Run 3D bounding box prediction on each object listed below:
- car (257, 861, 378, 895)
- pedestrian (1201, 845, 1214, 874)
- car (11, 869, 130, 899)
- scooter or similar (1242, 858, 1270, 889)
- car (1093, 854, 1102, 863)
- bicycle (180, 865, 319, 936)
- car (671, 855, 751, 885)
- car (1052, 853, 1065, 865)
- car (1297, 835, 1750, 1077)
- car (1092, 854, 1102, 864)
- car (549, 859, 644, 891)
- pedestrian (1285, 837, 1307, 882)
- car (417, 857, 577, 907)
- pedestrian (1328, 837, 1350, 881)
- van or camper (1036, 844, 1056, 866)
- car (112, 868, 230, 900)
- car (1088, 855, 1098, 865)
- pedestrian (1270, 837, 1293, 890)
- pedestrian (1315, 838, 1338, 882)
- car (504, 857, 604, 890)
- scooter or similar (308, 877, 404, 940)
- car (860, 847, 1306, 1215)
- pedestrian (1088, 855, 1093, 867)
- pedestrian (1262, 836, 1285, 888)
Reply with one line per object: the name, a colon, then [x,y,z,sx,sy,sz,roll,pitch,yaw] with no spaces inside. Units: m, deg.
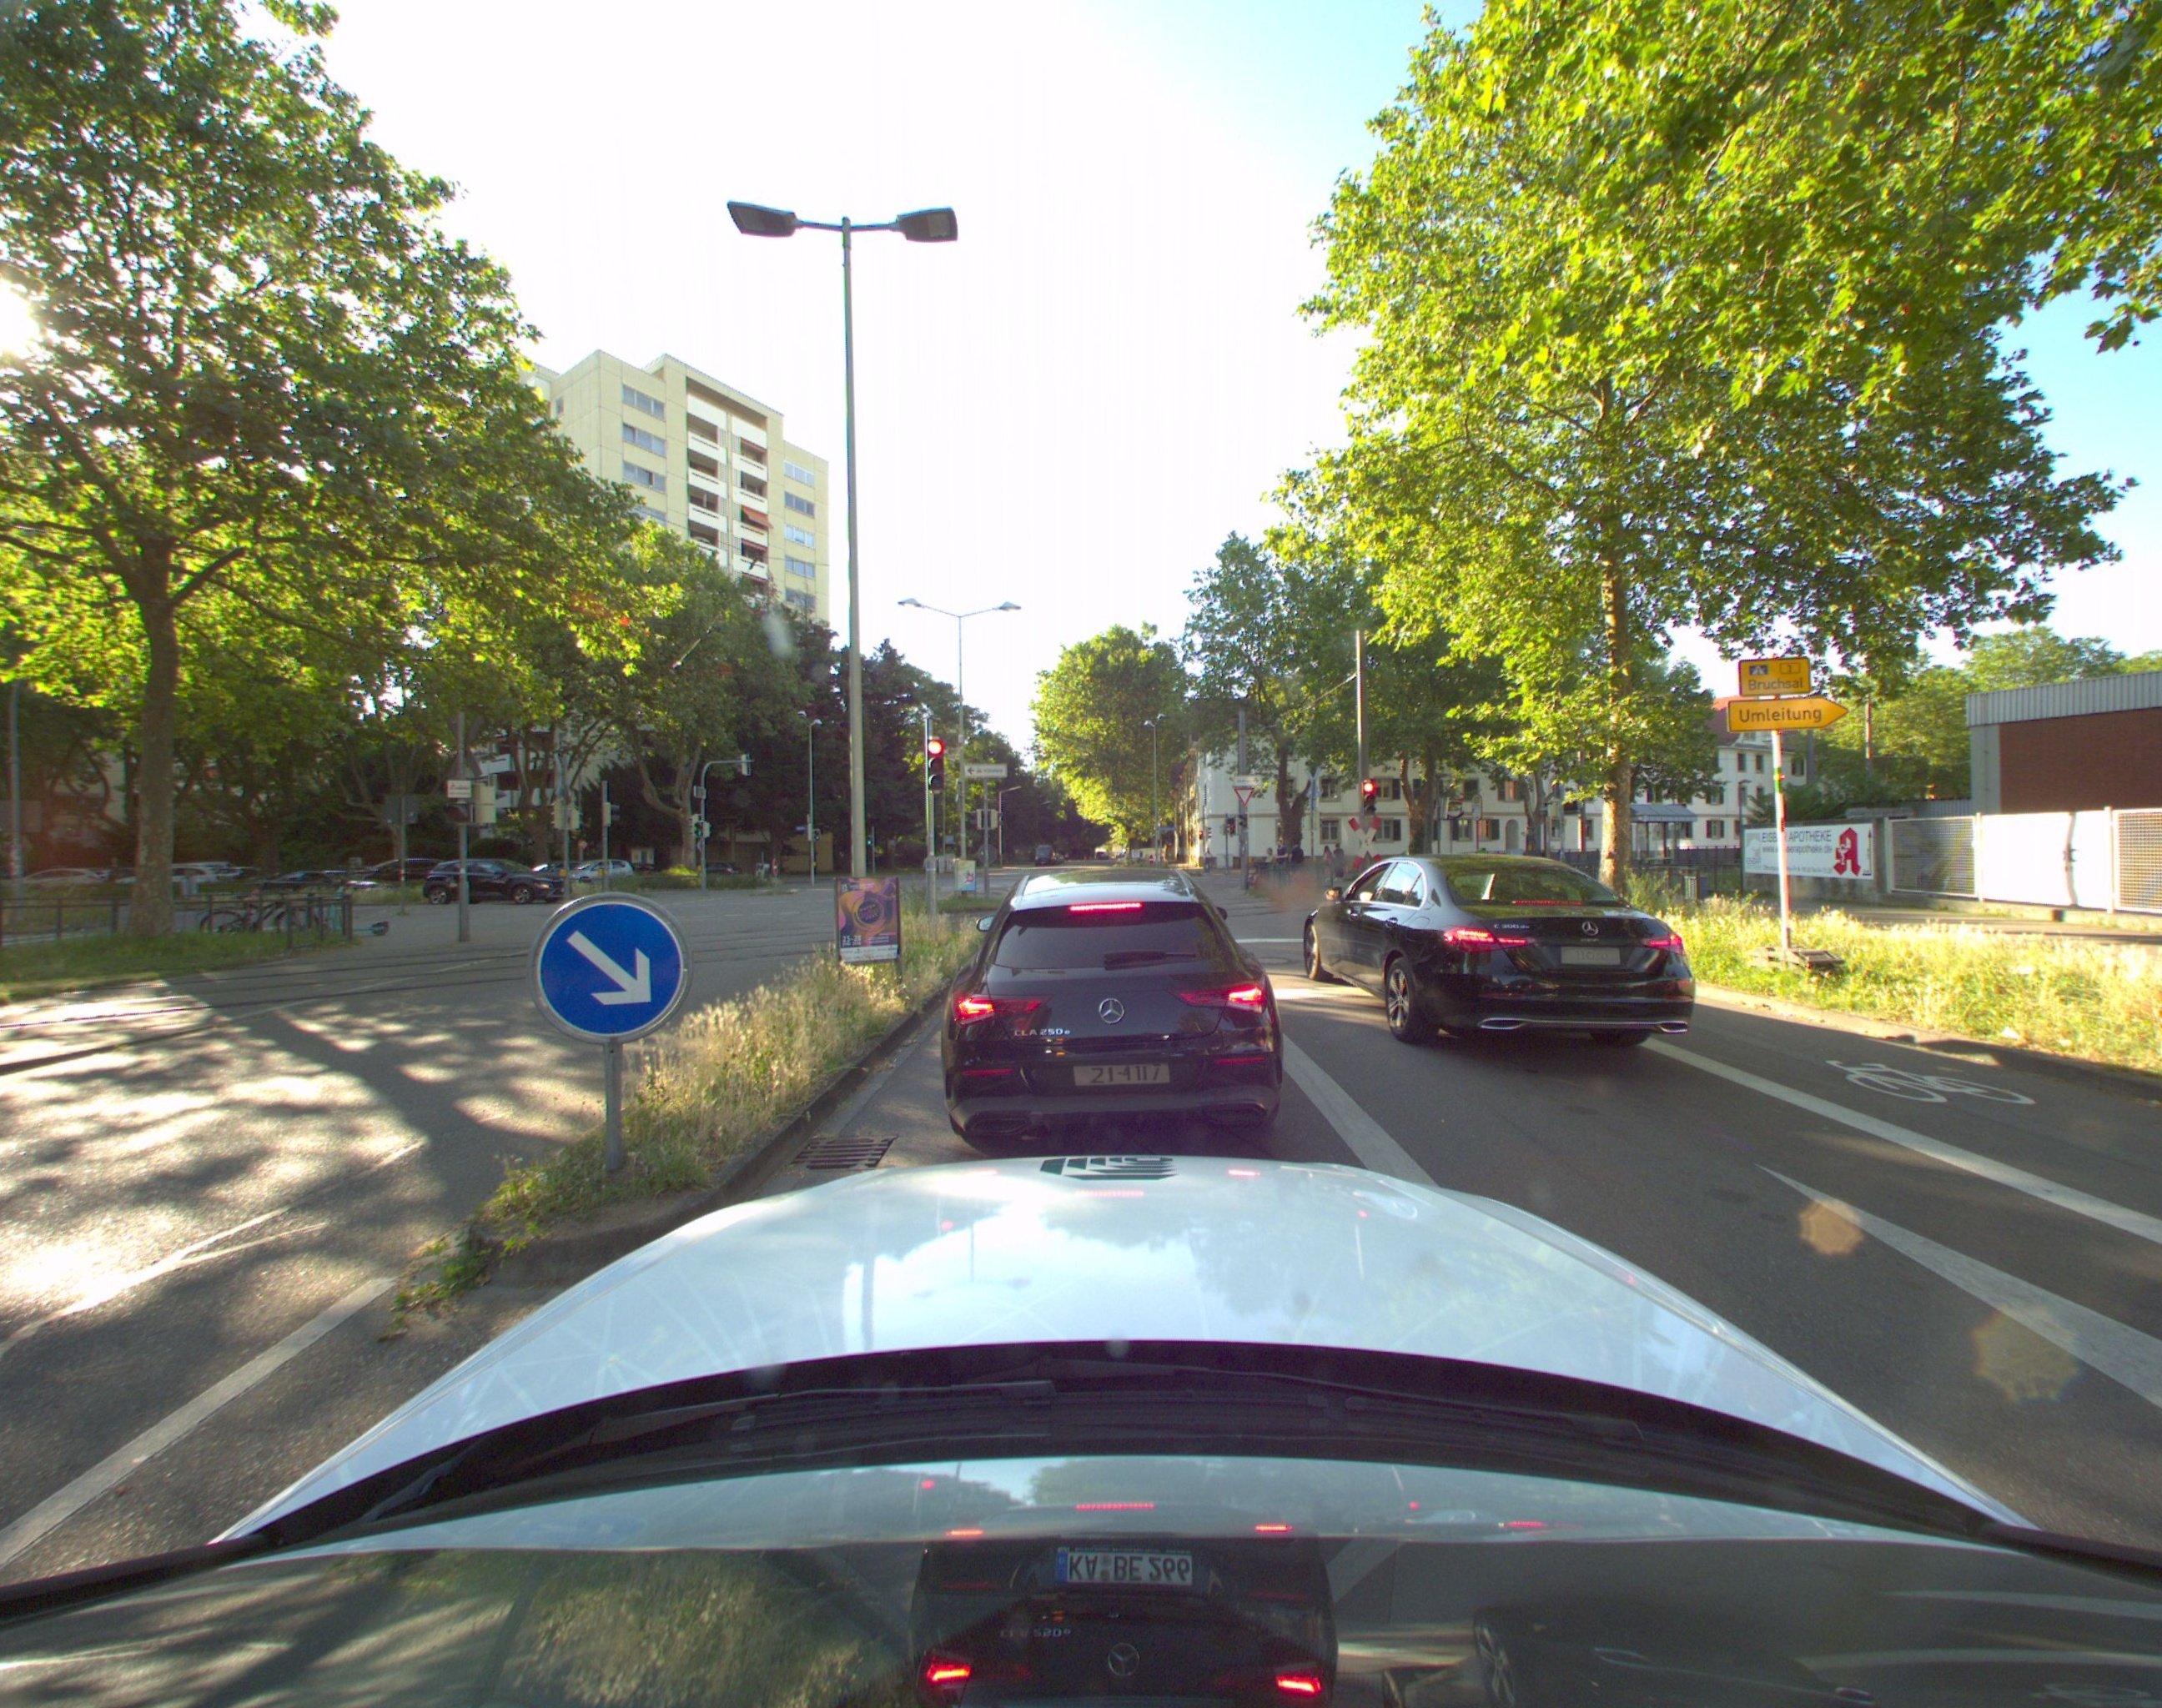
car: [-37.419,1.144,40.000,1.716,1.596,4.025,-1,-1,32]
pedestrian: [8.390,0.348,53.980,0.703,1.918,0.838,0,-1,-2]
car: [-57.106,1.664,46.075,1.716,1.596,4.025,-1,-1,32]
scooter or similar: [6.482,0.720,30.228,0.826,1.104,0.808,0,-1,-4]
car: [3.235,0.900,158.628,1.727,1.765,4.020,0,-1,2]
bicycle: [-15.956,0.870,15.673,1.845,1.307,0.380,0,-1,-26]
car: [-22.644,0.957,49.925,3.963,1.774,2.005,-1,-1,9]
car: [-3.257,0.761,117.858,1.727,1.765,4.087,0,-1,2]
car: [3.389,0.608,7.386,1.882,1.490,4.385,0,2,2]
car: [2.905,0.979,150.545,1.727,1.765,4.020,0,-1,2]
car: [-24.928,1.046,42.030,1.716,1.596,3.831,-1,-1,32]
pedestrian: [9.295,0.251,35.251,0.703,1.918,0.838,0,-1,-2]
car: [-19.463,0.903,27.283,3.981,1.596,1.735,0,-1,-5]
pedestrian: [11.569,0.229,36.544,0.703,1.918,0.838,0,-1,-2]
van or camper: [-4.260,0.127,100.051,1.986,2.541,4.653,0,-1,2]
car: [-49.165,1.586,44.073,1.716,1.596,4.025,-1,-1,32]
car: [2.093,1.007,145.740,1.727,1.765,4.020,0,-1,2]
pedestrian: [7.408,0.342,30.087,0.680,1.918,0.707,0,-1,0]
pedestrian: [10.718,0.258,35.563,0.703,1.918,0.838,0,-1,-2]
car: [-27.191,0.973,42.143,1.716,1.596,4.025,-1,-1,32]
scooter or similar: [-15.096,1.106,16.986,0.408,1.239,1.450,-1,-1,40]
car: [0.117,0.734,5.448,1.881,1.450,4.004,0,2,3]
pedestrian: [1.528,1.051,130.204,0.704,1.918,0.837,0,-1,-8]
pedestrian: [7.284,0.297,30.863,0.681,1.918,0.707,0,-1,-2]
